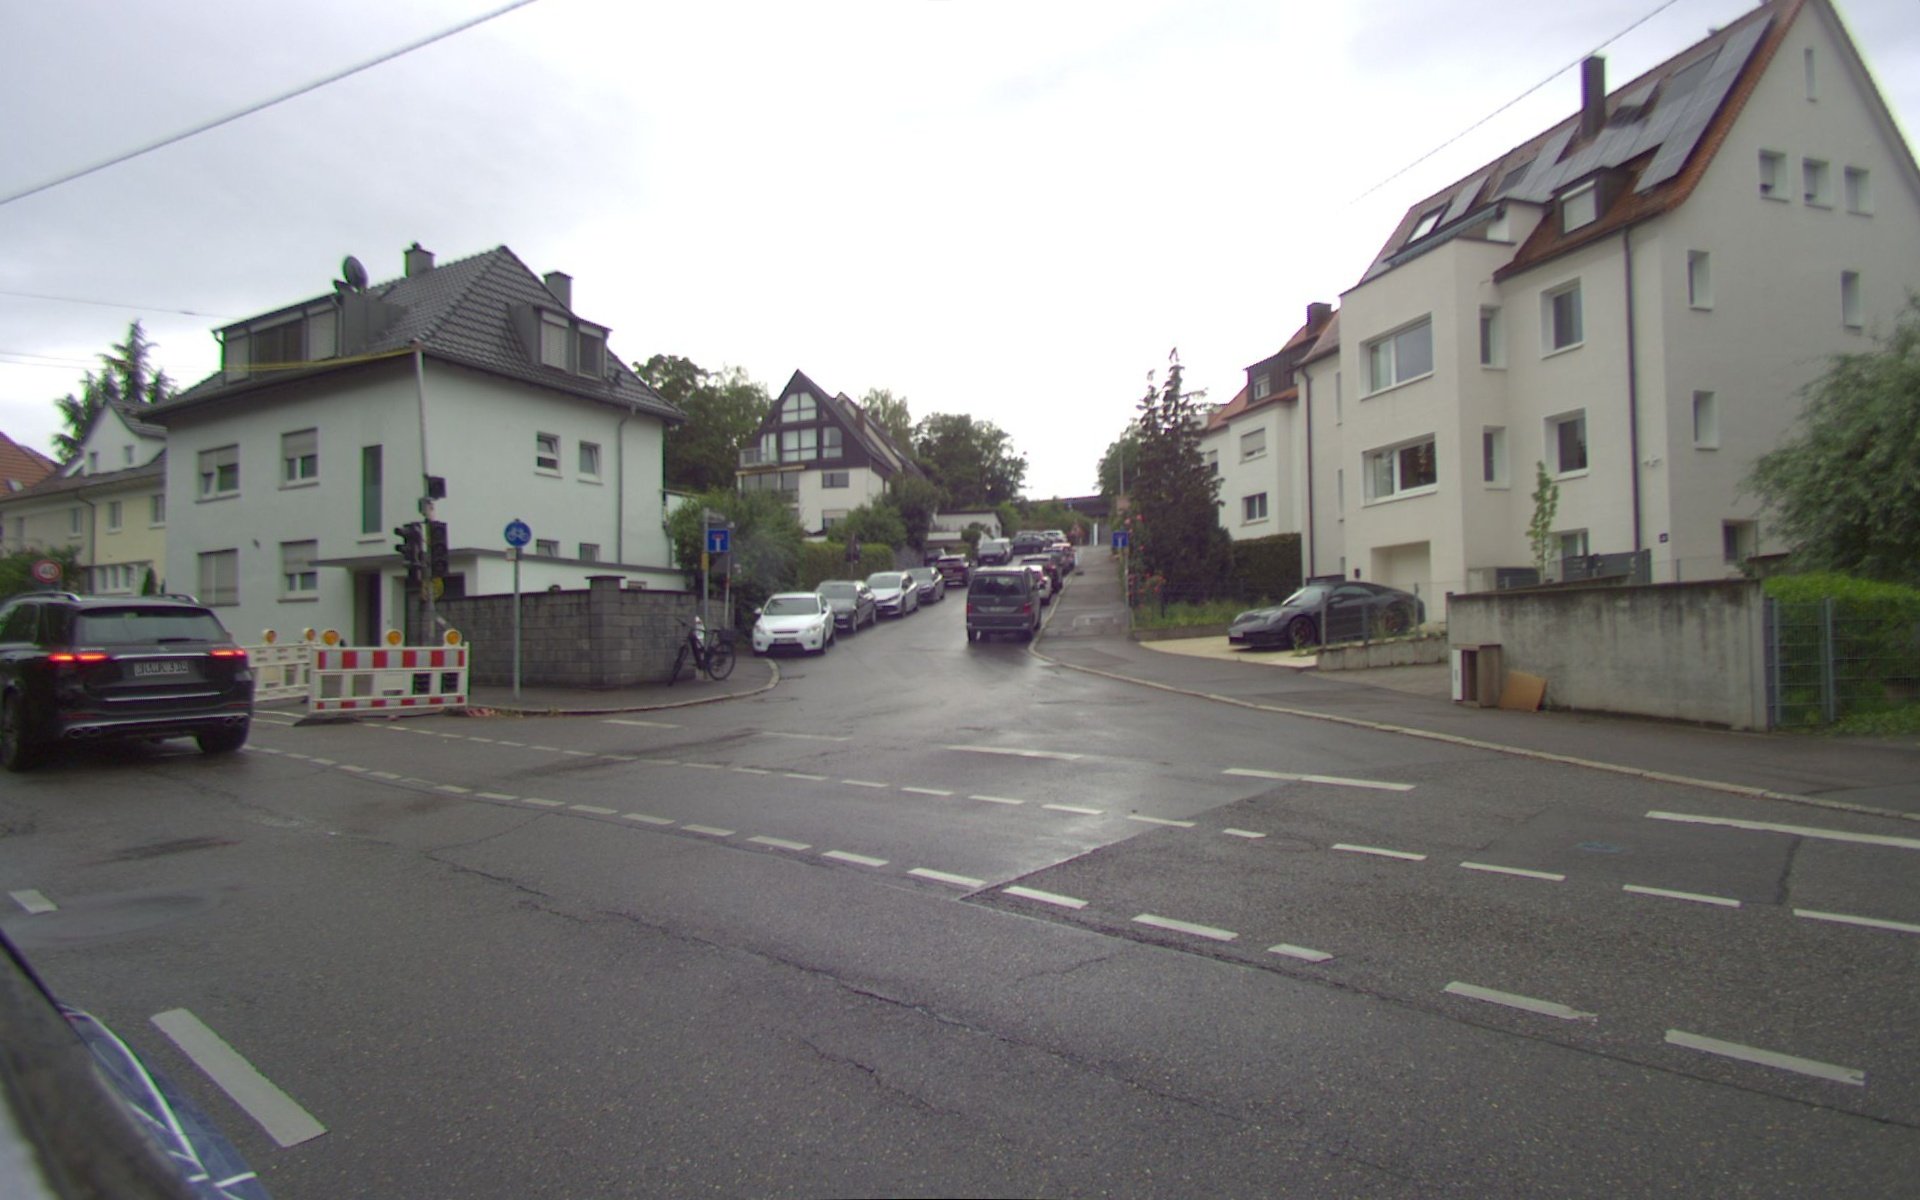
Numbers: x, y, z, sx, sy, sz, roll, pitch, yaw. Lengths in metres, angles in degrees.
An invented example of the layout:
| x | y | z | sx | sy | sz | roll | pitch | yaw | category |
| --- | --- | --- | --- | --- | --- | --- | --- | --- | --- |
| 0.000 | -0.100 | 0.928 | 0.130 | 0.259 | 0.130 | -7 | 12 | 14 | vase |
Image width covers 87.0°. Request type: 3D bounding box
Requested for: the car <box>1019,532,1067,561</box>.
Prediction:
| x | y | z | sx | sy | sz | roll | pitch | yaw | category |
| --- | --- | --- | --- | --- | --- | --- | --- | --- | --- |
| 7.204 | -4.587 | 87.649 | 3.954 | 2.028 | 1.995 | -5 | -1 | 8 | car |

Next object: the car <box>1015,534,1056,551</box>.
| x | y | z | sx | sy | sz | roll | pitch | yaw | category |
| --- | --- | --- | --- | --- | --- | --- | --- | --- | --- |
| 7.393 | -5.617 | 98.794 | 3.922 | 1.528 | 1.748 | -1 | 0 | 6 | car |

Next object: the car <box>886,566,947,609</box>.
| x | y | z | sx | sy | sz | roll | pitch | yaw | category |
| --- | --- | --- | --- | --- | --- | --- | --- | --- | --- |
| -1.805 | -0.563 | 42.967 | 1.903 | 1.448 | 4.100 | -1 | 5 | 7 | car |

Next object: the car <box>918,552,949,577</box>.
| x | y | z | sx | sy | sz | roll | pitch | yaw | category |
| --- | --- | --- | --- | --- | --- | --- | --- | --- | --- |
| -1.825 | -2.436 | 69.800 | 1.793 | 1.566 | 4.009 | -1 | 0 | 3 | car |

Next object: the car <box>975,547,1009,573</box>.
| x | y | z | sx | sy | sz | roll | pitch | yaw | category |
| --- | --- | --- | --- | --- | --- | --- | --- | --- | --- |
| 2.198 | -2.688 | 68.892 | 1.770 | 1.531 | 4.016 | -1 | 0 | 9 | car |

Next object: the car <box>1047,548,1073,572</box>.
| x | y | z | sx | sy | sz | roll | pitch | yaw | category |
| --- | --- | --- | --- | --- | --- | --- | --- | --- | --- |
| 6.239 | -2.464 | 62.855 | 1.488 | 1.373 | 3.465 | -1 | 0 | 8 | car |

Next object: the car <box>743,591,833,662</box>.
| x | y | z | sx | sy | sz | roll | pitch | yaw | category |
| --- | --- | --- | --- | --- | --- | --- | --- | --- | --- |
| -4.352 | 0.621 | 26.163 | 1.827 | 1.473 | 4.124 | -1 | 3 | -3 | car |

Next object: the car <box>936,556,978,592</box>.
| x | y | z | sx | sy | sz | roll | pitch | yaw | category |
| --- | --- | --- | --- | --- | --- | --- | --- | --- | --- |
| -0.112 | -1.376 | 52.472 | 1.623 | 1.637 | 3.992 | -1 | 5 | 8 | car |

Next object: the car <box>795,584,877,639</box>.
| x | y | z | sx | sy | sz | roll | pitch | yaw | category |
| --- | --- | --- | --- | --- | --- | --- | --- | --- | --- |
| -3.825 | 0.313 | 31.826 | 1.702 | 1.397 | 3.900 | -1 | 4 | 6 | car |

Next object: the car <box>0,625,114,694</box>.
| x | y | z | sx | sy | sz | roll | pitch | yaw | category |
| --- | --- | --- | --- | --- | --- | --- | --- | --- | --- |
| -21.467 | 1.334 | 23.390 | 3.833 | 1.443 | 1.768 | -1 | -1 | 30 | car |

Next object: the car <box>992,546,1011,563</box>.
| x | y | z | sx | sy | sz | roll | pitch | yaw | category |
| --- | --- | --- | --- | --- | --- | --- | --- | --- | --- |
| 3.060 | -3.346 | 74.717 | 1.292 | 1.206 | 2.980 | -1 | 3 | 5 | car |

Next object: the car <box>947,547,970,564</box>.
| x | y | z | sx | sy | sz | roll | pitch | yaw | category |
| --- | --- | --- | --- | --- | --- | --- | --- | --- | --- |
| -0.080 | -3.278 | 74.028 | 1.559 | 1.220 | 3.650 | -1 | 3 | 2 | car |

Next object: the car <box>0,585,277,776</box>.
| x | y | z | sx | sy | sz | roll | pitch | yaw | category |
| --- | --- | --- | --- | --- | --- | --- | --- | --- | --- |
| -9.846 | 0.814 | 11.426 | 4.540 | 1.761 | 1.963 | -2 | -2 | 33 | car |

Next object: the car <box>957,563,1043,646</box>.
| x | y | z | sx | sy | sz | roll | pitch | yaw | category |
| --- | --- | --- | --- | --- | --- | --- | --- | --- | --- |
| 1.244 | 0.044 | 29.333 | 1.978 | 2.028 | 4.482 | -1 | 4 | 9 | car |

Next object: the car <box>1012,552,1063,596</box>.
| x | y | z | sx | sy | sz | roll | pitch | yaw | category |
| --- | --- | --- | --- | --- | --- | --- | --- | --- | --- |
| 3.523 | -1.204 | 45.383 | 1.823 | 1.699 | 4.039 | -1 | 5 | 11 | car |

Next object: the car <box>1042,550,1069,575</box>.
| x | y | z | sx | sy | sz | roll | pitch | yaw | category |
| --- | --- | --- | --- | --- | --- | --- | --- | --- | --- |
| 5.504 | -2.159 | 58.118 | 1.274 | 1.325 | 2.984 | -1 | 3 | 10 | car |

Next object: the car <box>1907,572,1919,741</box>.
| x | y | z | sx | sy | sz | roll | pitch | yaw | category |
| --- | --- | --- | --- | --- | --- | --- | --- | --- | --- |
| 10.606 | 0.421 | 8.556 | 3.934 | 1.497 | 1.780 | -2 | -1 | -12 | car |

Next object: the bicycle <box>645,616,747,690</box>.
| x | y | z | sx | sy | sz | roll | pitch | yaw | category |
| --- | --- | --- | --- | --- | --- | --- | --- | --- | --- |
| -4.784 | 0.930 | 18.465 | 0.508 | 1.249 | 1.984 | 1 | 0 | 32 | bicycle |

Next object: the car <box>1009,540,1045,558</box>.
| x | y | z | sx | sy | sz | roll | pitch | yaw | category |
| --- | --- | --- | --- | --- | --- | --- | --- | --- | --- |
| 5.555 | -4.221 | 83.660 | 2.914 | 1.328 | 1.282 | -1 | 0 | 4 | car |

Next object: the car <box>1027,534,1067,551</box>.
| x | y | z | sx | sy | sz | roll | pitch | yaw | category |
| --- | --- | --- | --- | --- | --- | --- | --- | --- | --- |
| 8.941 | -5.929 | 103.920 | 3.782 | 1.529 | 1.664 | -1 | 0 | 15 | car |

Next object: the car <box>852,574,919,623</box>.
| x | y | z | sx | sy | sz | roll | pitch | yaw | category |
| --- | --- | --- | --- | --- | --- | --- | --- | --- | --- |
| -2.656 | -0.092 | 37.094 | 1.738 | 1.481 | 3.940 | -1 | 4 | 6 | car |

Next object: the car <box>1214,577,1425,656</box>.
| x | y | z | sx | sy | sz | roll | pitch | yaw | category |
| --- | --- | --- | --- | --- | --- | --- | --- | --- | --- |
| 7.709 | 0.328 | 21.779 | 3.942 | 1.290 | 1.613 | -5 | 1 | -13 | car |

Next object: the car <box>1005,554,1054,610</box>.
| x | y | z | sx | sy | sz | roll | pitch | yaw | category |
| --- | --- | --- | --- | --- | --- | --- | --- | --- | --- |
| 2.821 | -0.764 | 40.331 | 1.686 | 1.843 | 4.194 | -1 | 6 | 7 | car |

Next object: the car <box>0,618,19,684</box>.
| x | y | z | sx | sy | sz | roll | pitch | yaw | category |
| --- | --- | --- | --- | --- | --- | --- | --- | --- | --- |
| -26.151 | 1.318 | 25.782 | 4.131 | 1.653 | 1.782 | -1 | -1 | 25 | car |
